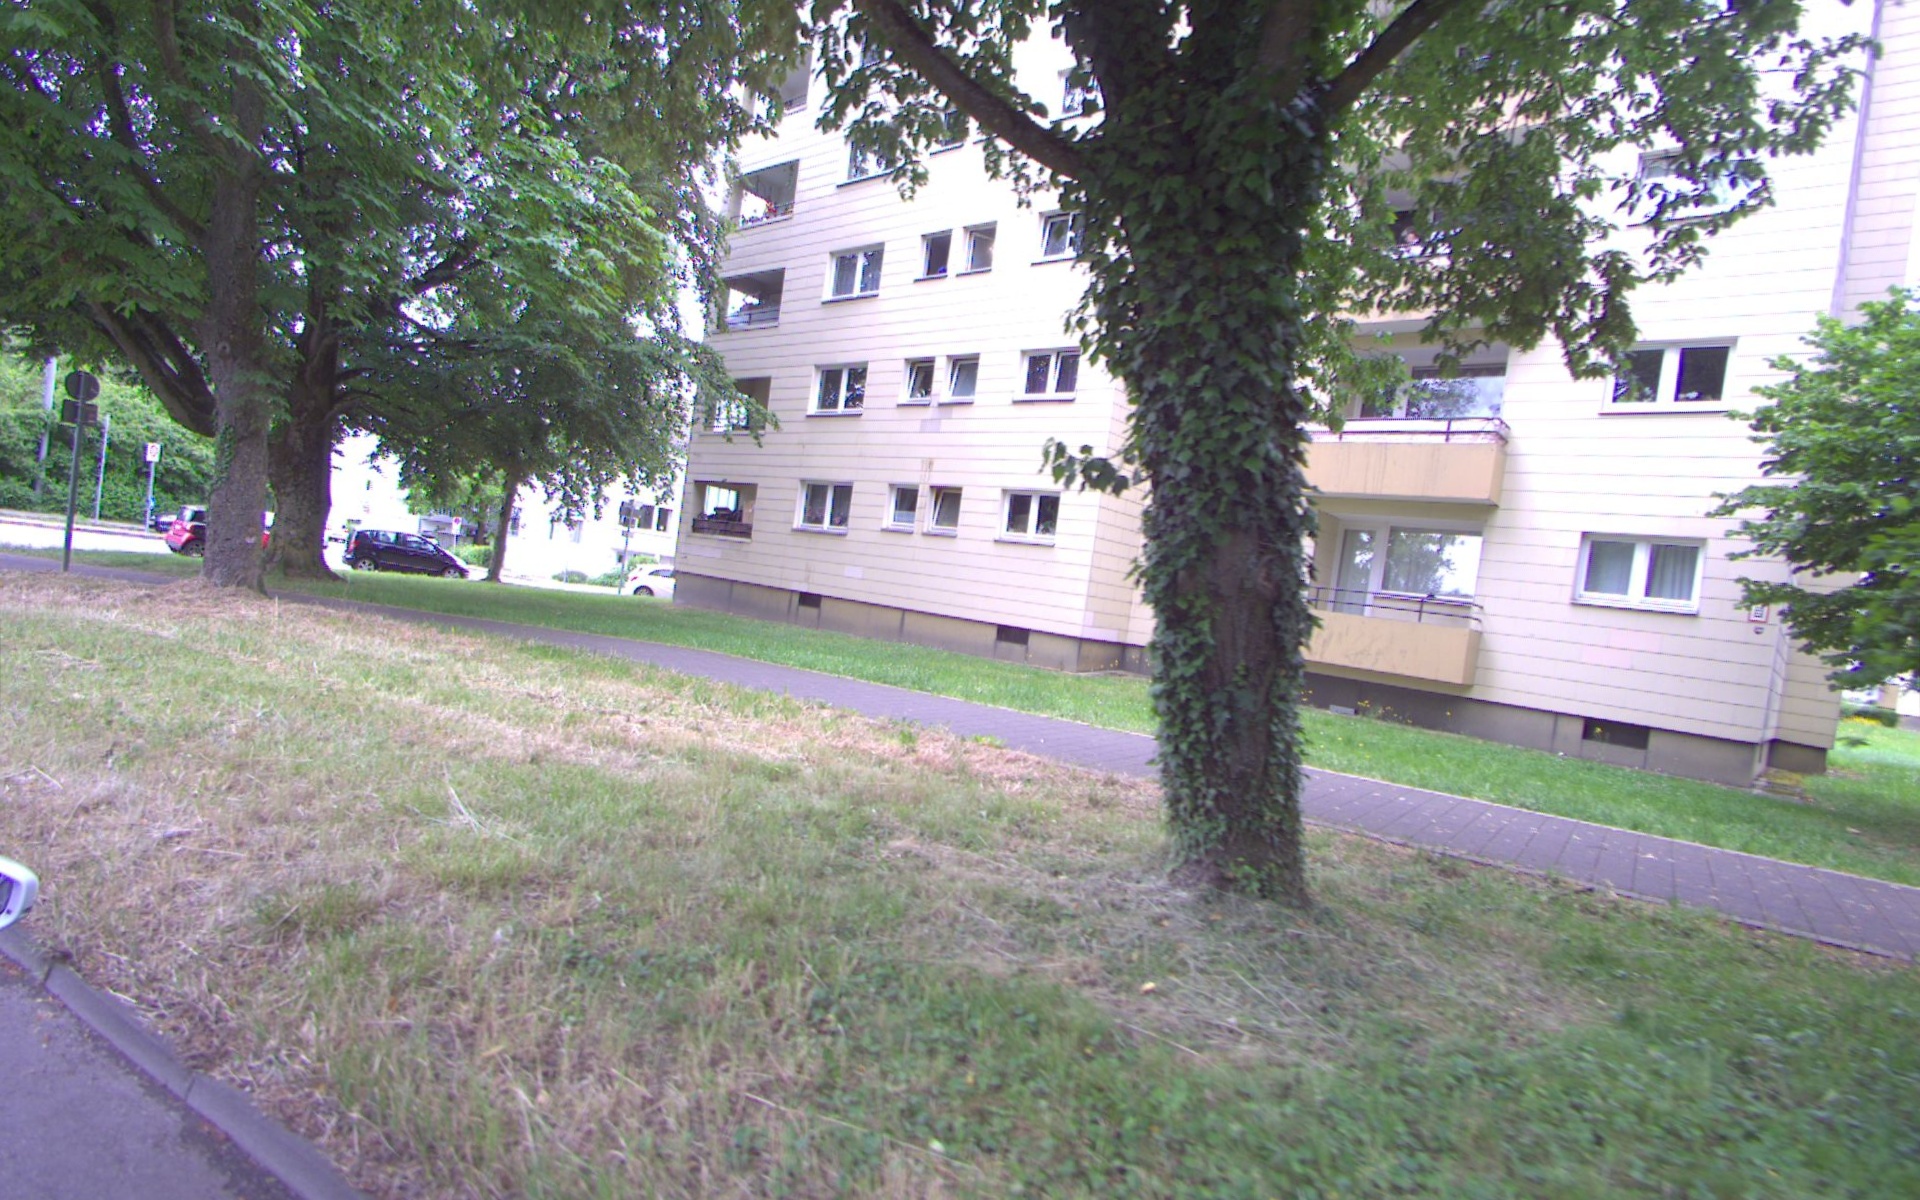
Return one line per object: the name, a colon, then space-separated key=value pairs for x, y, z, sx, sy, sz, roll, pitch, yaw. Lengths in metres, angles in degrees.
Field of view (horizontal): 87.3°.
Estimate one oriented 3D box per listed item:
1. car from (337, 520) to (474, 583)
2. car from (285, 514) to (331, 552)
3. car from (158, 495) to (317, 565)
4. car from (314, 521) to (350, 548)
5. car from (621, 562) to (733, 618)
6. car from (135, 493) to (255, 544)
car: x=-18.615 y=-1.614 z=33.796 sx=3.816 sy=1.631 sz=1.712 roll=6 pitch=2 yaw=-34
car: x=-32.825 y=-3.398 z=50.722 sx=1.709 sy=1.631 sz=3.821 roll=6 pitch=1 yaw=-31
car: x=-22.022 y=-2.107 z=30.741 sx=1.701 sy=1.631 sz=3.517 roll=8 pitch=1 yaw=35
car: x=-46.342 y=-4.833 z=74.180 sx=1.714 sy=1.632 sz=3.811 roll=5 pitch=2 yaw=-39
car: x=-10.511 y=-0.379 z=37.376 sx=3.797 sy=1.631 sz=1.720 roll=6 pitch=1 yaw=-19
car: x=-31.134 y=-3.311 z=41.010 sx=1.701 sy=1.550 sz=3.516 roll=8 pitch=1 yaw=36
